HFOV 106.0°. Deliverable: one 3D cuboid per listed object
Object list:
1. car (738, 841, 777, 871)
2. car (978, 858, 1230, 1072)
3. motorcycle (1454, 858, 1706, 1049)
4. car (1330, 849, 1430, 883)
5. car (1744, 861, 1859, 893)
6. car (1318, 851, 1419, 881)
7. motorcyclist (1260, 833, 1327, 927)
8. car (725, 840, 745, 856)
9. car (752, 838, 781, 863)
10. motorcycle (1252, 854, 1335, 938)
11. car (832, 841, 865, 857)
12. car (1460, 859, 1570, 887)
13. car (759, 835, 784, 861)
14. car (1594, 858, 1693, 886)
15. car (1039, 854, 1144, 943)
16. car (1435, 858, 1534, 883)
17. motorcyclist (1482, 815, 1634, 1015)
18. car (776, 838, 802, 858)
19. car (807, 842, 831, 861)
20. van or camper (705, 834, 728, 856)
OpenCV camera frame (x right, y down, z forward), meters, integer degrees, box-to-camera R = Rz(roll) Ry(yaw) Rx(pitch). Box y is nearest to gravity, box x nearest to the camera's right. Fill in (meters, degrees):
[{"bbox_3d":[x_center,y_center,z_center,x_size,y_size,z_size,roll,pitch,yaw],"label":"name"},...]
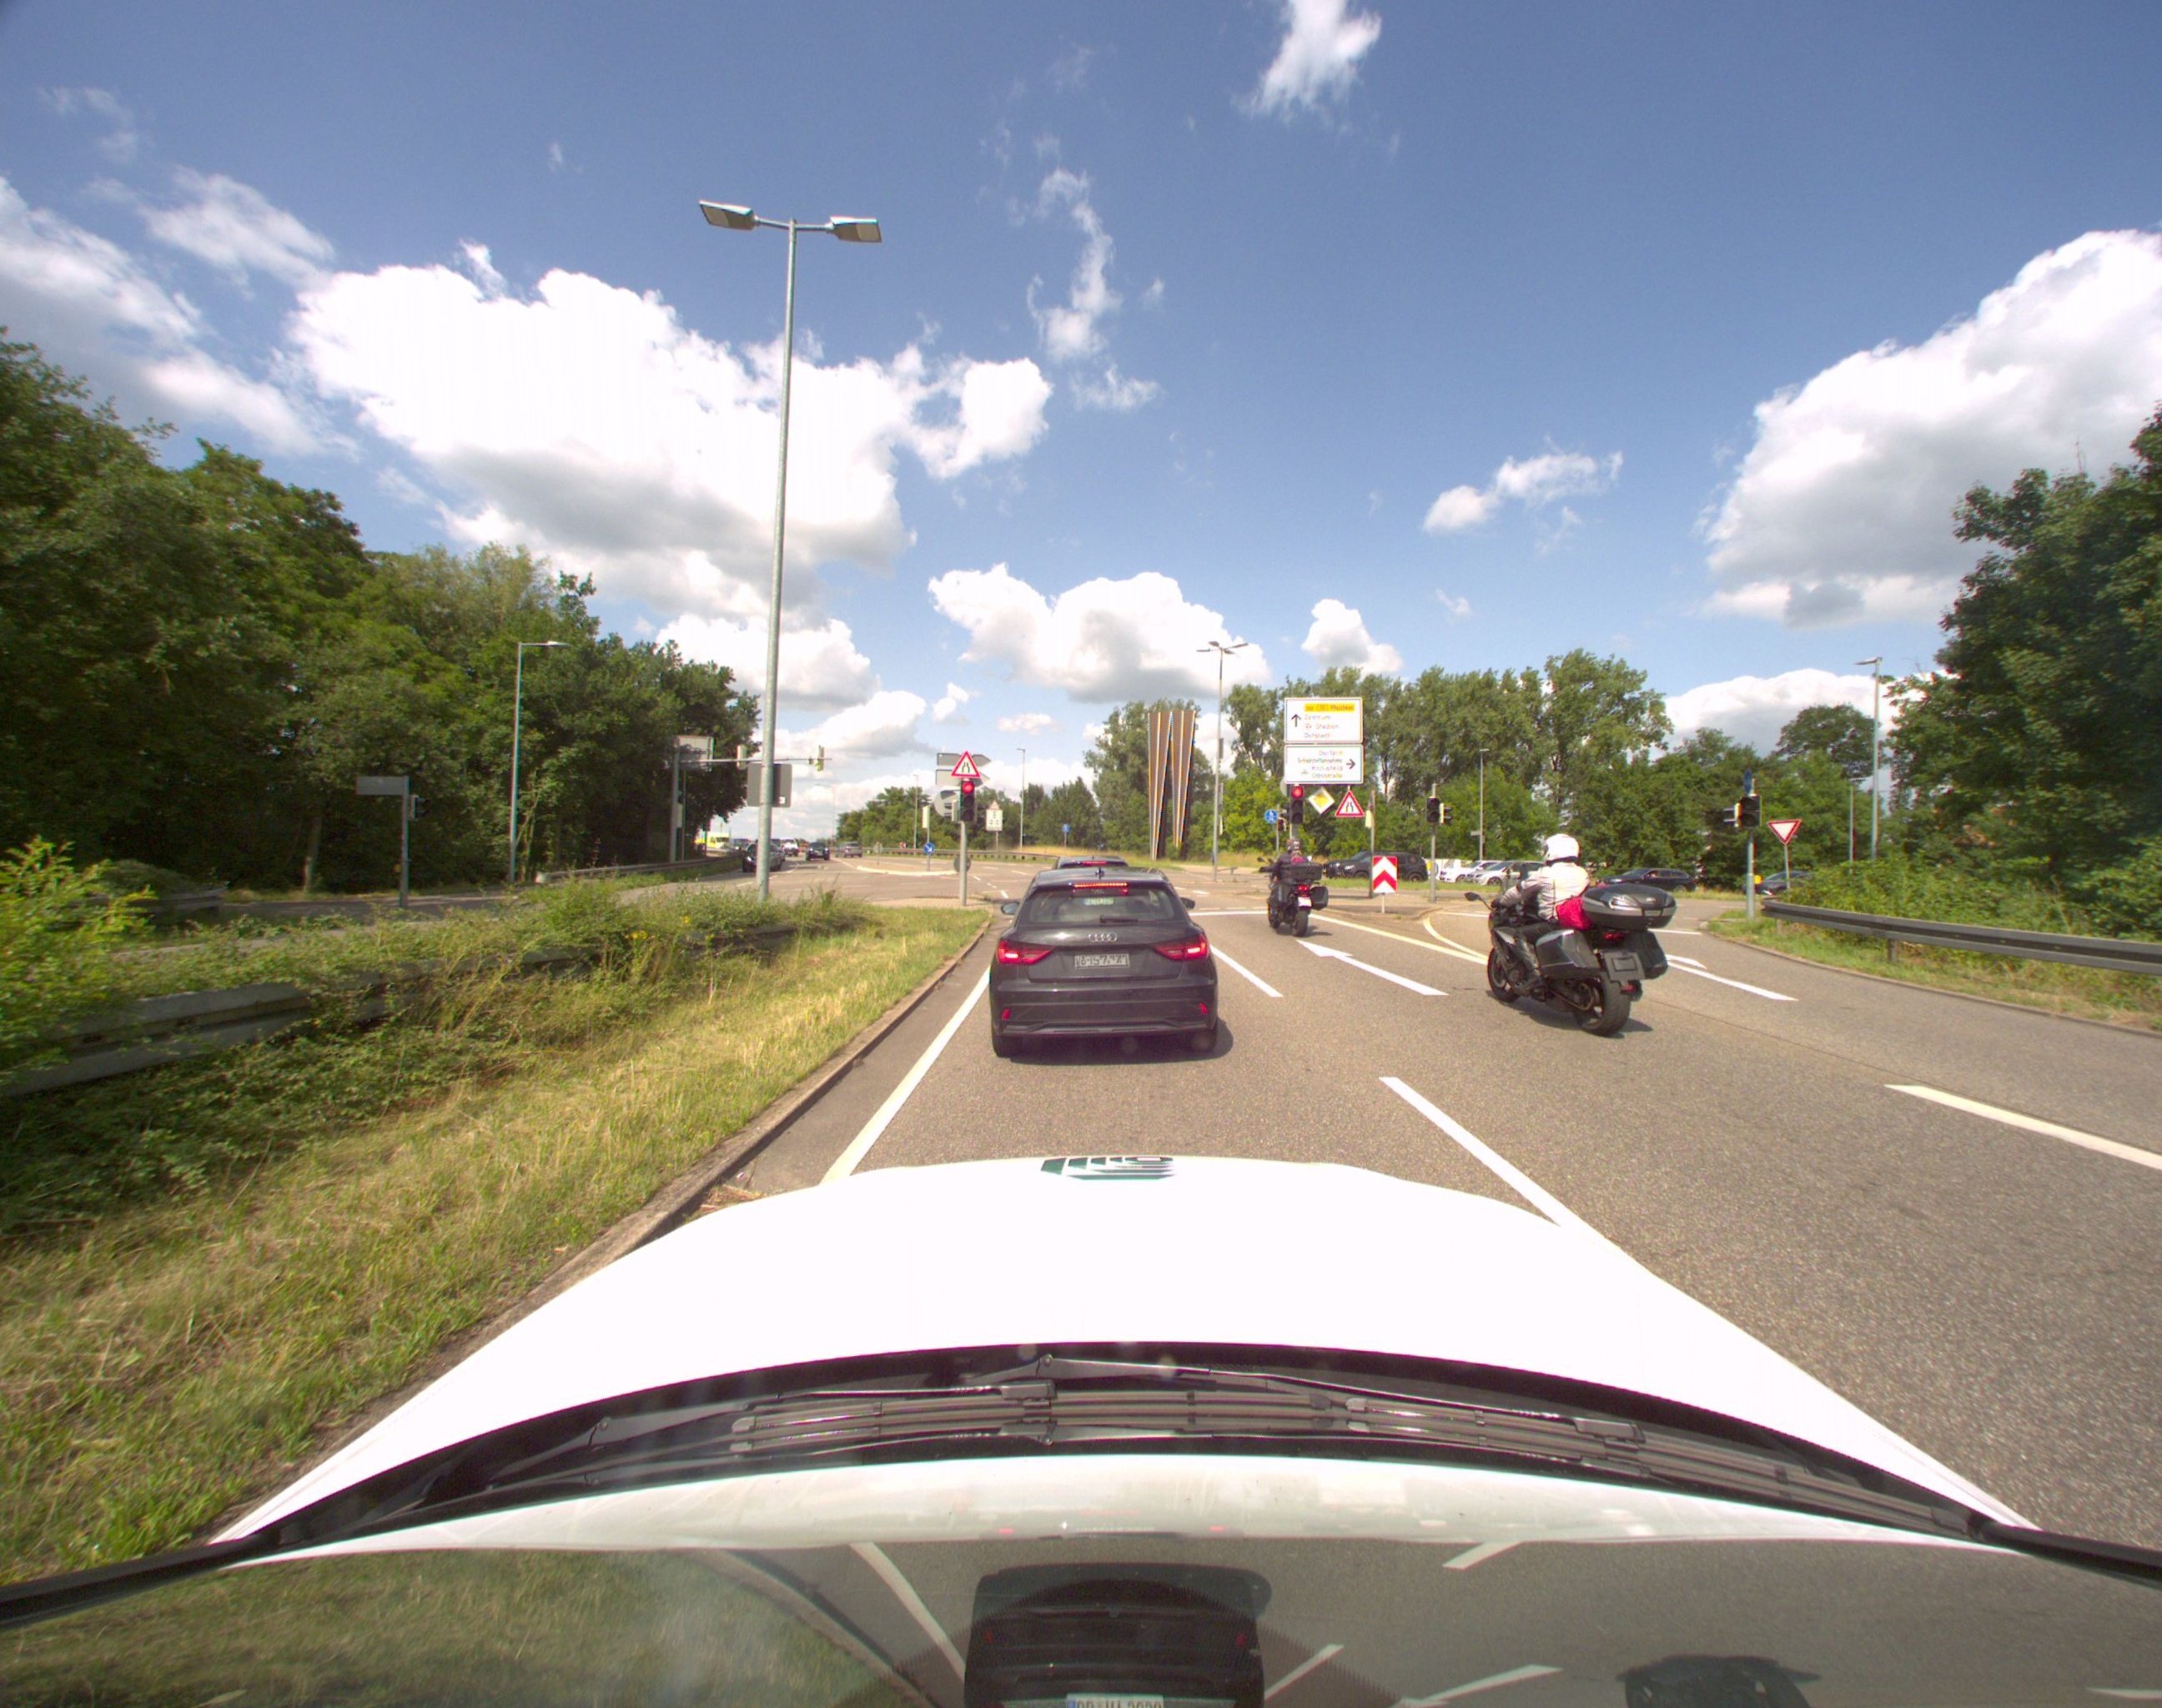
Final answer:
[{"bbox_3d":[-18.262,0.131,46.164,1.844,1.618,3.974,0,-1,-19],"label":"car"},{"bbox_3d":[0.218,0.781,7.662,1.720,1.404,4.002,-1,0,2],"label":"car"},{"bbox_3d":[4.277,0.754,7.285,0.862,1.389,2.371,0,0,2],"label":"motorcycle"},{"bbox_3d":[14.523,0.573,39.686,4.253,1.545,1.737,1,0,0],"label":"car"},{"bbox_3d":[35.616,1.110,40.323,4.212,1.476,1.736,1,0,-2],"label":"car"},{"bbox_3d":[15.300,0.631,43.523,4.831,1.545,1.737,1,0,0],"label":"car"},{"bbox_3d":[3.737,0.442,14.429,0.933,1.590,1.084,0,0,1],"label":"motorcyclist"},{"bbox_3d":[-38.809,-0.650,91.274,1.853,1.705,4.289,1,0,-26],"label":"car"},{"bbox_3d":[-23.197,-0.249,60.221,1.849,1.802,4.299,1,0,-19],"label":"car"},{"bbox_3d":[3.739,0.689,14.557,0.933,1.383,2.371,0,0,2],"label":"motorcycle"},{"bbox_3d":[-22.681,-0.482,79.229,2.007,1.496,4.077,1,0,-33],"label":"car"},{"bbox_3d":[21.112,0.912,39.706,4.460,1.320,1.736,1,0,-2],"label":"car"},{"bbox_3d":[-25.750,-0.494,67.633,1.850,2.100,4.295,1,0,-22],"label":"car"},{"bbox_3d":[30.342,0.961,43.989,4.212,1.476,1.736,1,0,-2],"label":"car"},{"bbox_3d":[0.104,0.737,15.471,1.722,1.423,3.841,-1,0,-2],"label":"car"},{"bbox_3d":[21.571,0.887,43.633,4.481,1.281,1.736,1,0,-2],"label":"car"},{"bbox_3d":[4.285,0.514,7.381,0.862,1.700,0.895,0,0,1],"label":"motorcyclist"},{"bbox_3d":[-30.682,-0.606,85.486,2.004,2.013,4.431,1,0,-27],"label":"car"},{"bbox_3d":[-22.199,-0.209,68.870,1.737,1.496,4.019,1,0,-21],"label":"car"},{"bbox_3d":[-46.606,-1.090,103.942,2.006,2.683,6.798,0,0,-30],"label":"van or camper"}]
